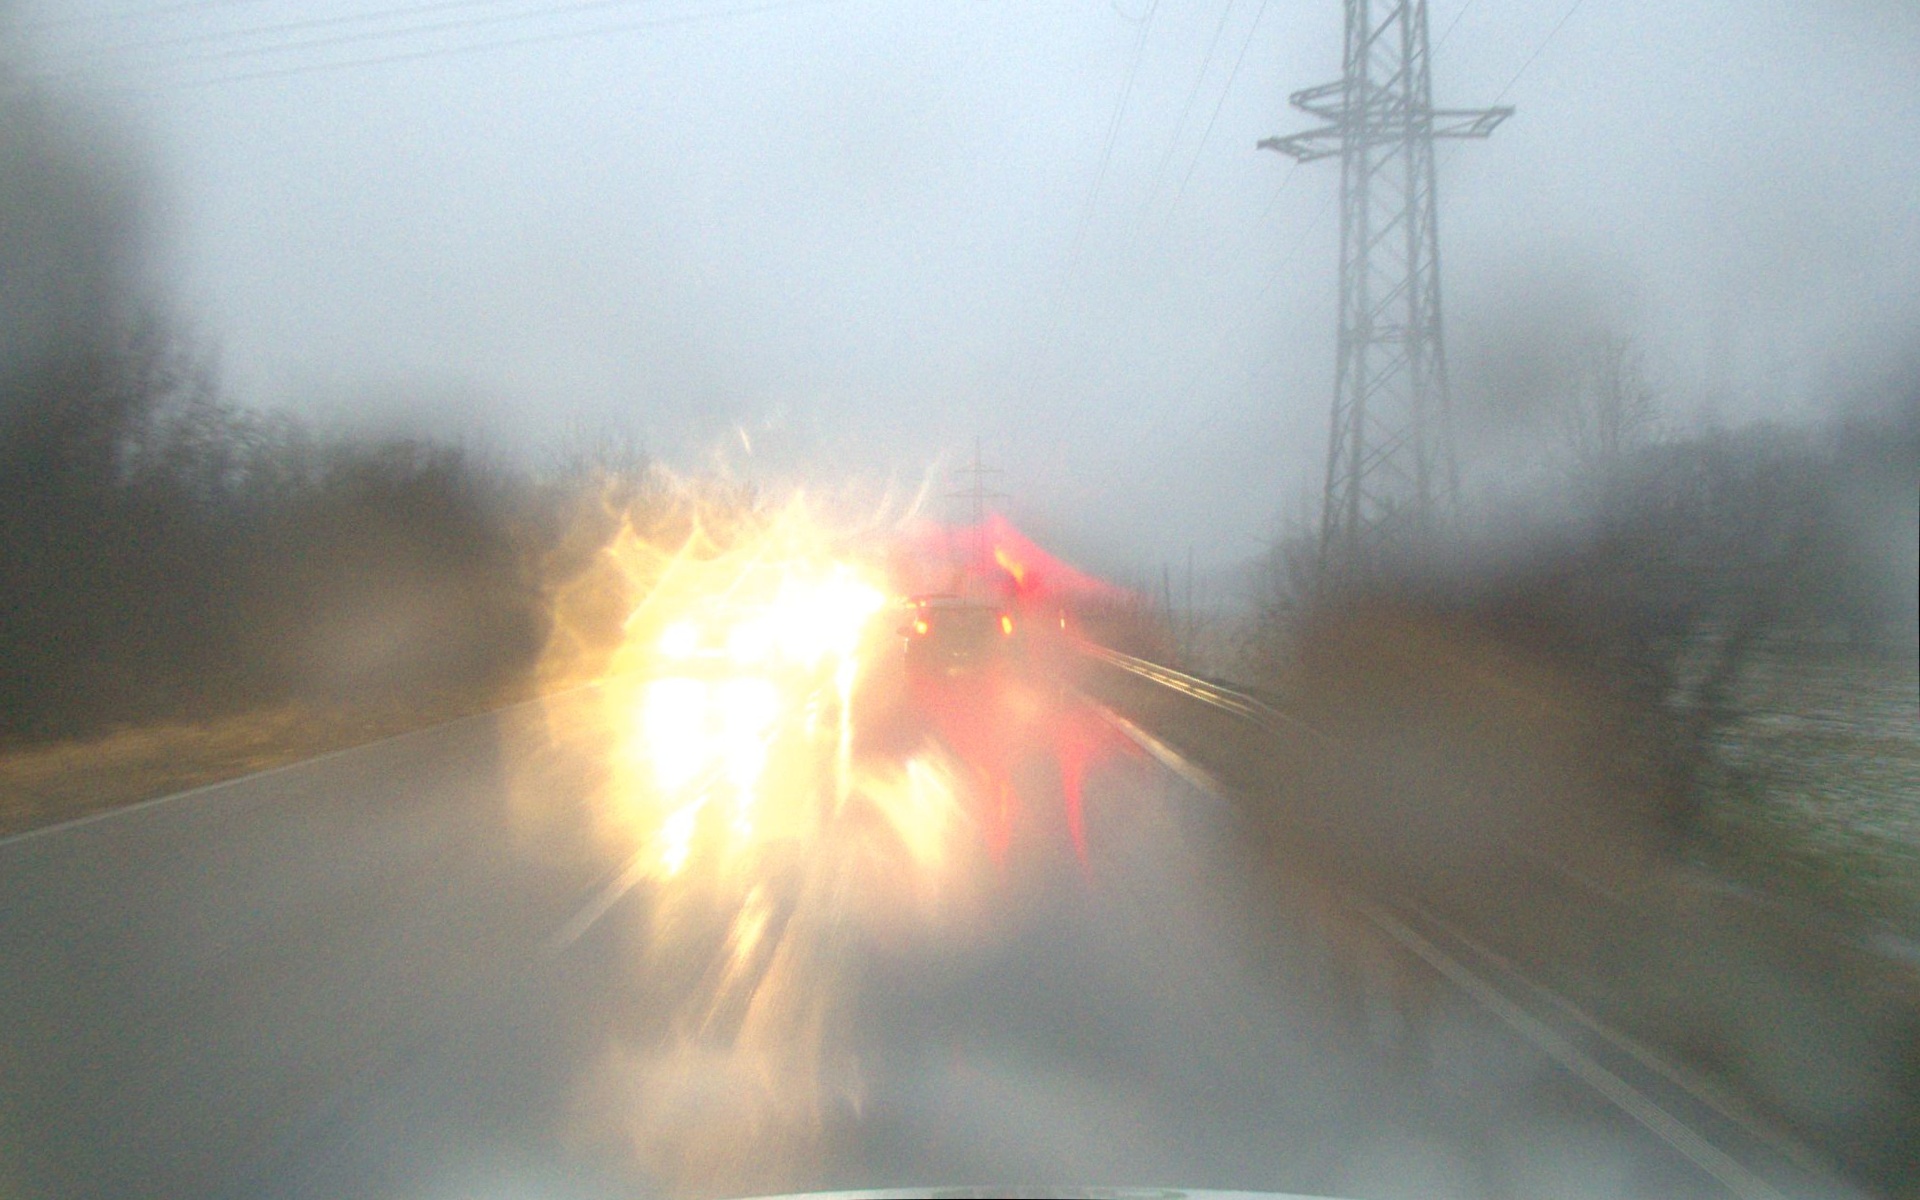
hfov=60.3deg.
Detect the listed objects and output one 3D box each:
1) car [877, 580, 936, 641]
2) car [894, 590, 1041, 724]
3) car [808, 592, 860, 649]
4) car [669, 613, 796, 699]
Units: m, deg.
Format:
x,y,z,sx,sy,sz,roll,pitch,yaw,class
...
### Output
x,y,z,sx,sy,sz,roll,pitch,yaw,class
-1.843,0.352,58.195,1.953,2.049,3.999,0,0,-1,car
0.067,0.772,24.061,1.953,1.783,3.999,0,0,-1,car
-4.997,0.838,66.105,1.791,2.156,3.999,1,-2,-1,car
-4.107,1.021,30.468,1.791,1.434,3.999,1,-2,-1,car
